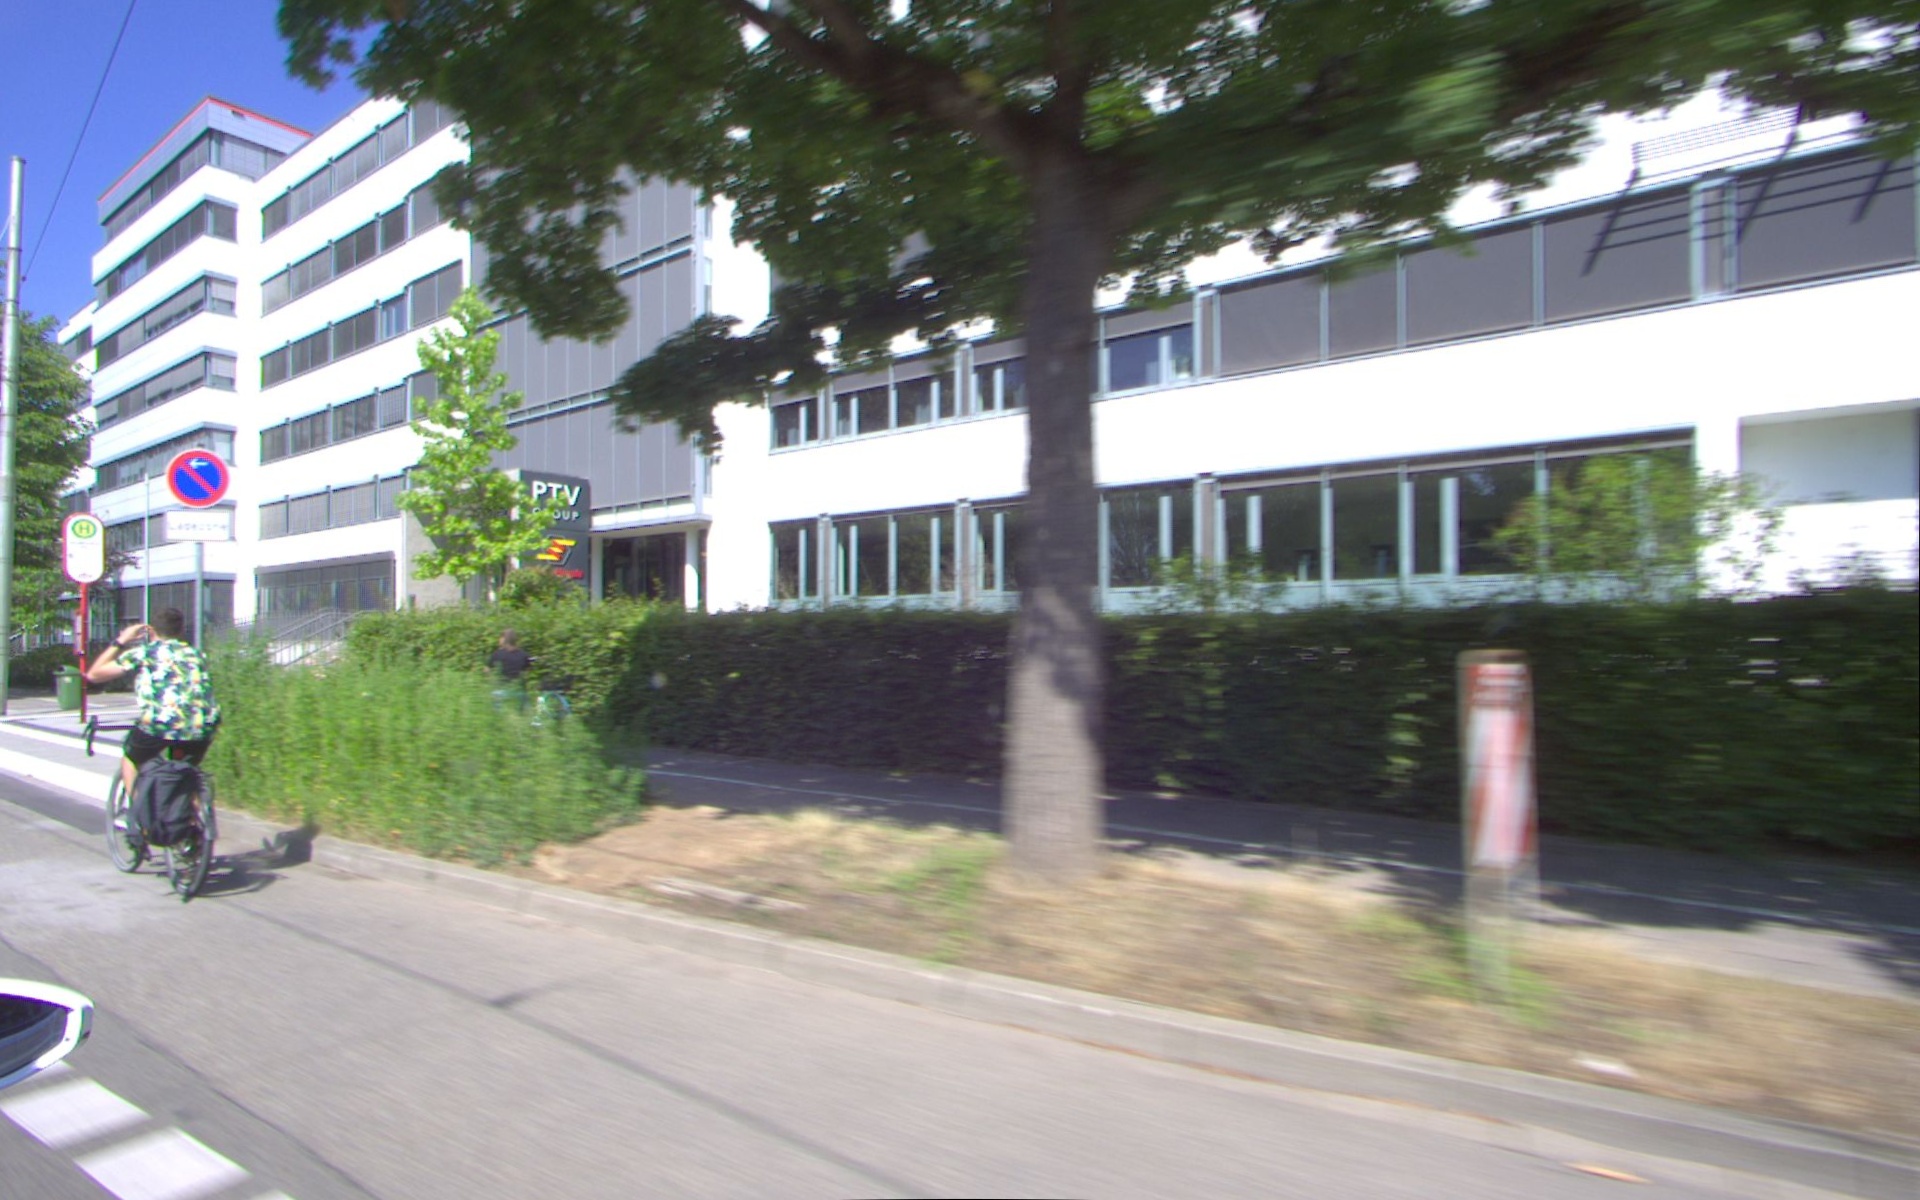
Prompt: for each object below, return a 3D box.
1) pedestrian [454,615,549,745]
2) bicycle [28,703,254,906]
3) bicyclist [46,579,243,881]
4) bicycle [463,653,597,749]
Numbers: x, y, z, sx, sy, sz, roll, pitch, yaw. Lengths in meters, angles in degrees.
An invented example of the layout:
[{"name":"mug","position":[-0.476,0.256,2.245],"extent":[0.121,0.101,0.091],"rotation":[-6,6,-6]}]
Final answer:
[{"name":"pedestrian","position":[-5.855,0.994,12.798],"extent":[0.974,1.584,0.684],"rotation":[-1,0,32]},{"name":"bicycle","position":[-5.300,1.223,6.428],"extent":[2.136,0.996,0.607],"rotation":[-1,-2,37]},{"name":"bicyclist","position":[-5.200,0.774,6.387],"extent":[0.975,1.746,0.714],"rotation":[-1,-2,36]},{"name":"bicycle","position":[-5.590,1.263,12.960],"extent":[2.040,1.131,0.634],"rotation":[-1,-2,36]}]
